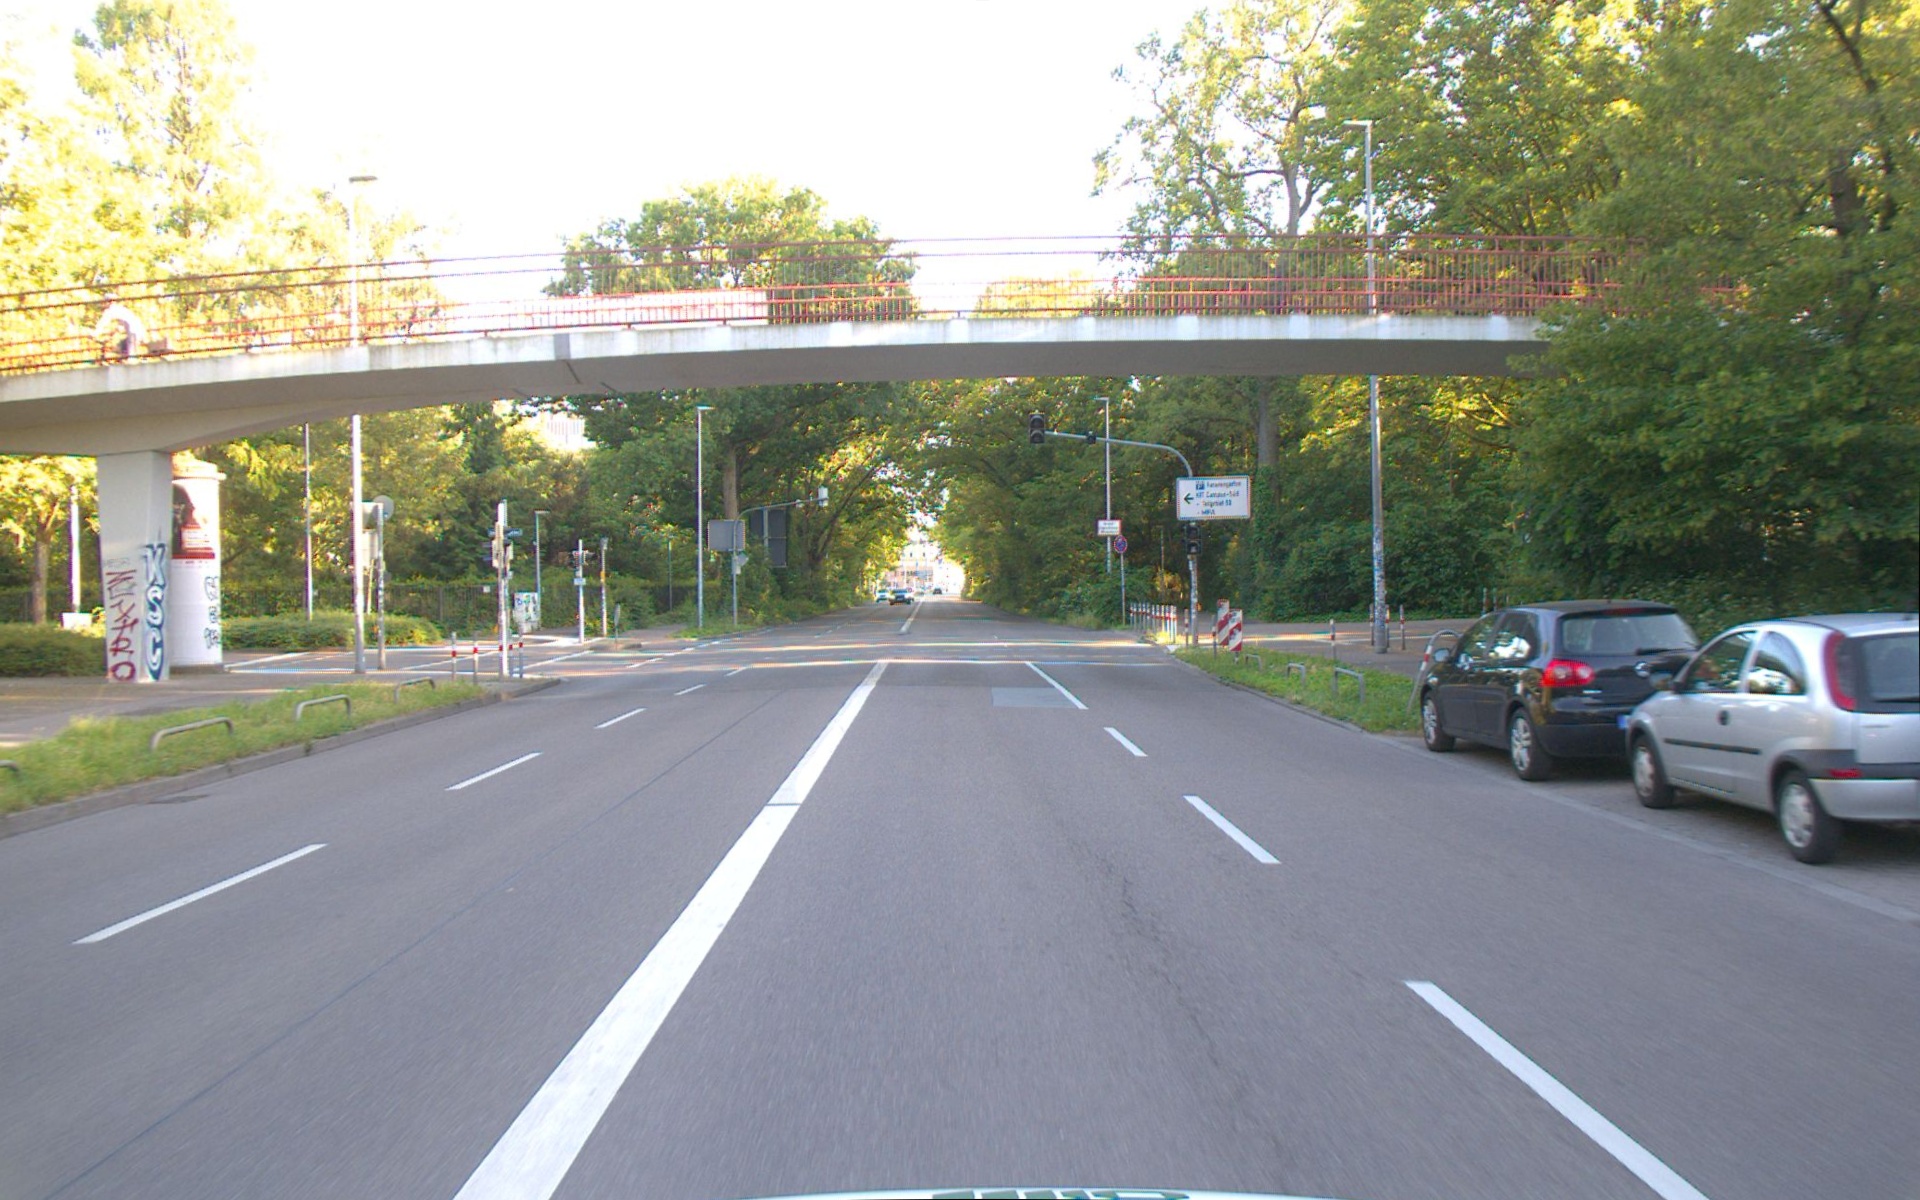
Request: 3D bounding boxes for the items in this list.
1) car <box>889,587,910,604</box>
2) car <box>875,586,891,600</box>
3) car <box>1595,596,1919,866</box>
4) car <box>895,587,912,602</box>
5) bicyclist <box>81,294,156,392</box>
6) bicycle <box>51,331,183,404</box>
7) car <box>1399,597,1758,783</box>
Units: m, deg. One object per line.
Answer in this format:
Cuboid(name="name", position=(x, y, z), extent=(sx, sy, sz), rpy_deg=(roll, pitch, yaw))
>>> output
Cuboid(name="car", position=(-5.592, -0.437, 152.403), extent=(1.849, 1.533, 4.362), rpy_deg=(-2, 0, -2))
Cuboid(name="car", position=(-8.913, -0.796, 191.314), extent=(1.761, 1.533, 4.362), rpy_deg=(-2, 0, -2))
Cuboid(name="car", position=(5.958, 0.736, 11.355), extent=(1.737, 1.479, 4.015), rpy_deg=(-2, 0, 2))
Cuboid(name="car", position=(-5.998, -0.565, 177.086), extent=(1.761, 1.533, 4.362), rpy_deg=(-2, 0, -2))
Cuboid(name="bicyclist", position=(-14.945, -4.564, 29.401), extent=(0.951, 1.614, 0.714), rpy_deg=(1, -1, -3))
Cuboid(name="bicycle", position=(-14.965, -4.119, 29.394), extent=(1.947, 1.167, 0.714), rpy_deg=(1, -1, -3))
Cuboid(name="car", position=(5.656, 0.731, 15.759), extent=(1.738, 1.479, 4.387), rpy_deg=(-2, 0, 0))
